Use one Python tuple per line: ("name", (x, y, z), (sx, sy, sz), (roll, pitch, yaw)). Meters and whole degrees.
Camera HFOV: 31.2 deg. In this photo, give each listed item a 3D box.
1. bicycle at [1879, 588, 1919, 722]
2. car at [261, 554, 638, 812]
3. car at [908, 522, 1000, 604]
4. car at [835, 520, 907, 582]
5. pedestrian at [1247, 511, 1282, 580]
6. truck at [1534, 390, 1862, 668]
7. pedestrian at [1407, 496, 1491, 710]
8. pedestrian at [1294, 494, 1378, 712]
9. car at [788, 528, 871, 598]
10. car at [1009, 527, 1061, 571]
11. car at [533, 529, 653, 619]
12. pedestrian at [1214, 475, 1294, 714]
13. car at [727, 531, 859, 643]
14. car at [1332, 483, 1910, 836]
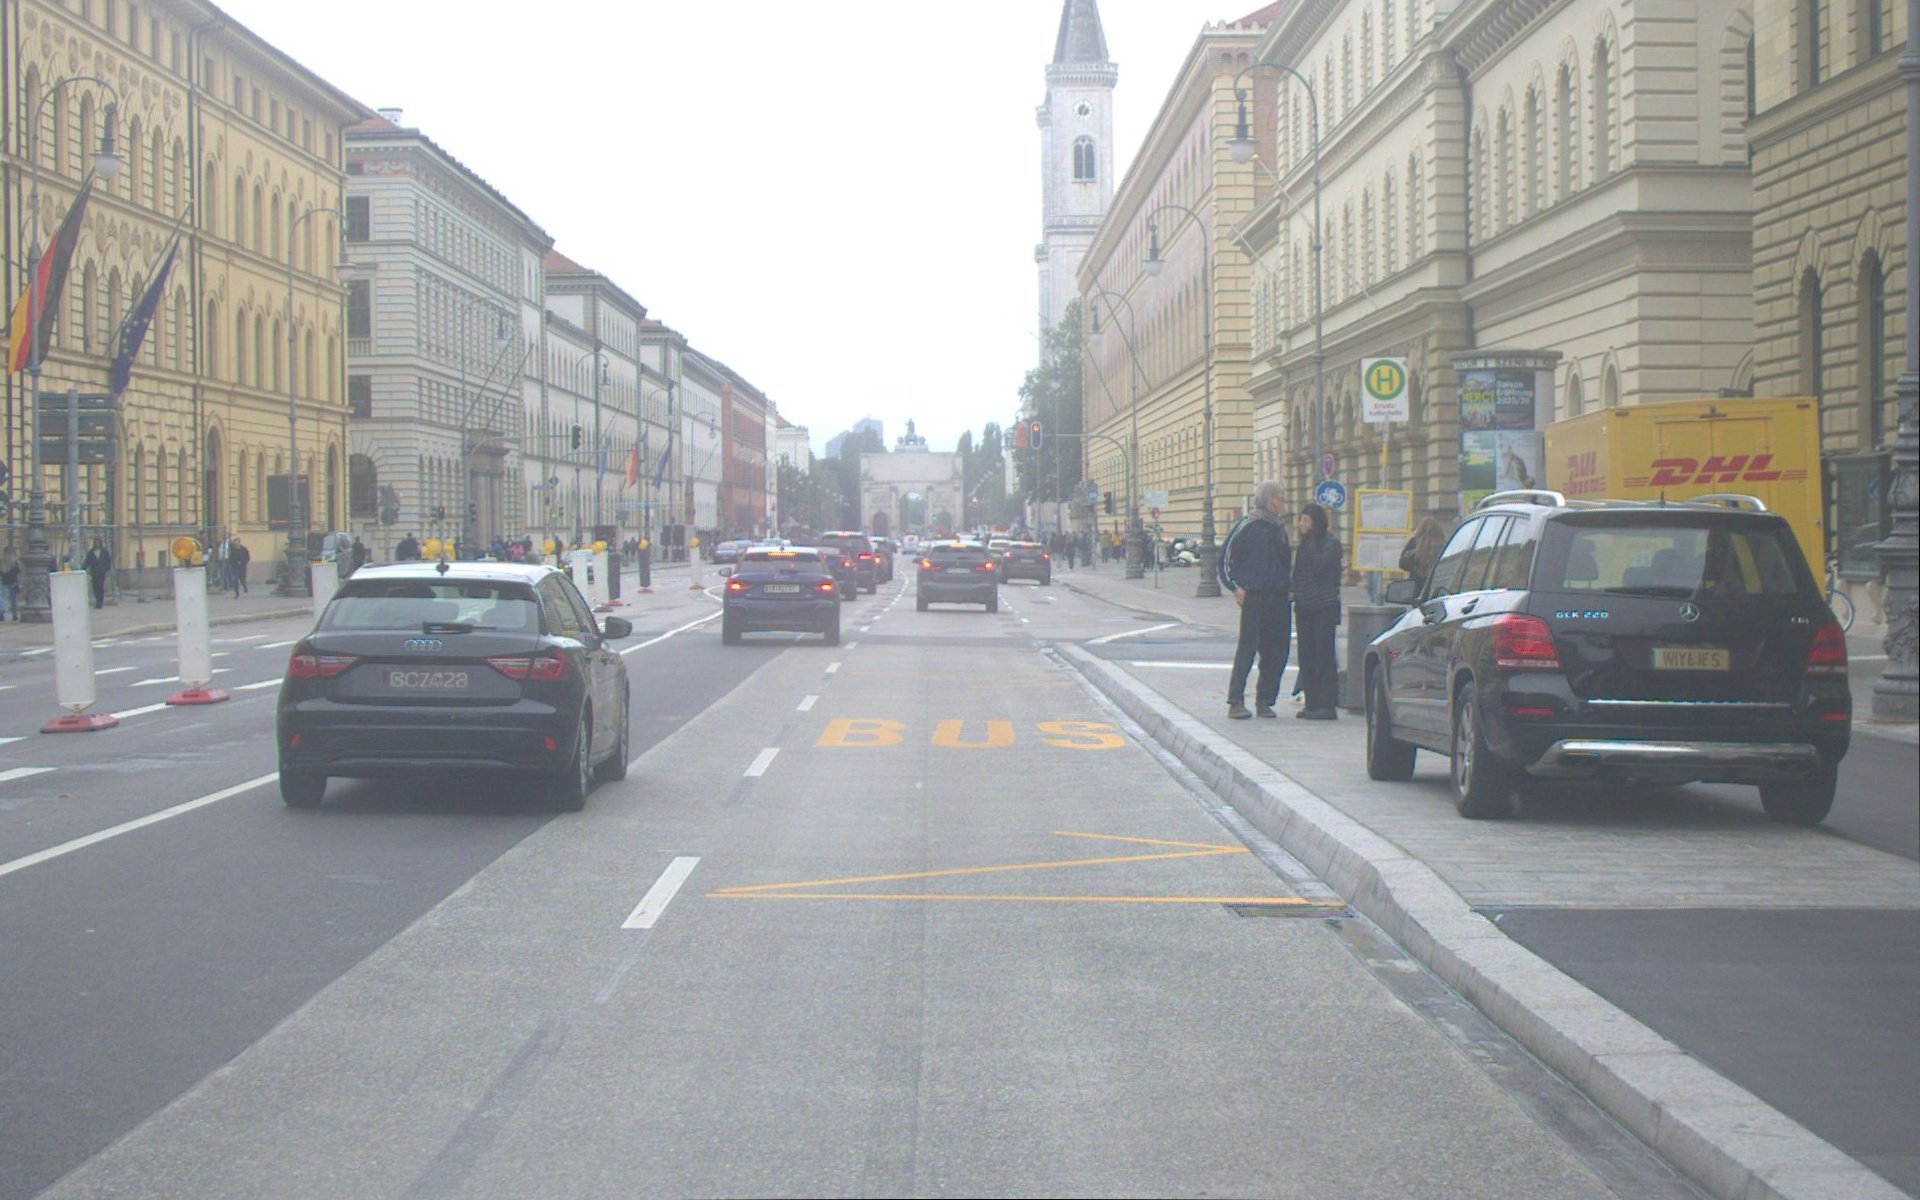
("bicycle", (7.598, 0.418, 26.951), (0.518, 1.019, 1.650), (0, 0, 6))
("car", (-2.973, 0.428, 20.777), (1.863, 1.383, 4.001), (0, 1, -3))
("car", (-0.131, -0.848, 77.430), (1.993, 1.766, 4.000), (-1, 1, 0))
("car", (-2.604, -1.459, 101.474), (1.993, 1.766, 4.000), (-1, 1, 0))
("pedestrian", (7.493, -1.344, 84.658), (0.797, 1.684, 0.800), (0, 0, 0))
("truck", (7.854, -0.710, 37.251), (2.622, 2.755, 5.806), (0, 0, 3))
("pedestrian", (3.922, 0.024, 27.593), (0.615, 1.696, 0.541), (0, 0, 3))
("pedestrian", (2.964, 0.026, 27.120), (0.615, 1.696, 0.541), (0, 0, 3))
("car", (-3.393, -0.991, 89.995), (1.993, 1.766, 4.000), (-1, 1, 0))
("car", (2.788, -1.896, 128.938), (1.859, 1.573, 4.000), (0, 0, 0))
("car", (-6.753, -0.471, 63.649), (1.769, 1.611, 4.000), (0, 0, 0))
("pedestrian", (2.322, -0.046, 27.193), (0.615, 1.868, 0.541), (0, 0, 4))
("car", (-2.484, -0.193, 51.854), (1.769, 1.611, 4.000), (0, 0, 0))
("car", (3.357, 0.249, 18.362), (2.068, 1.656, 4.223), (0, 1, -3))
